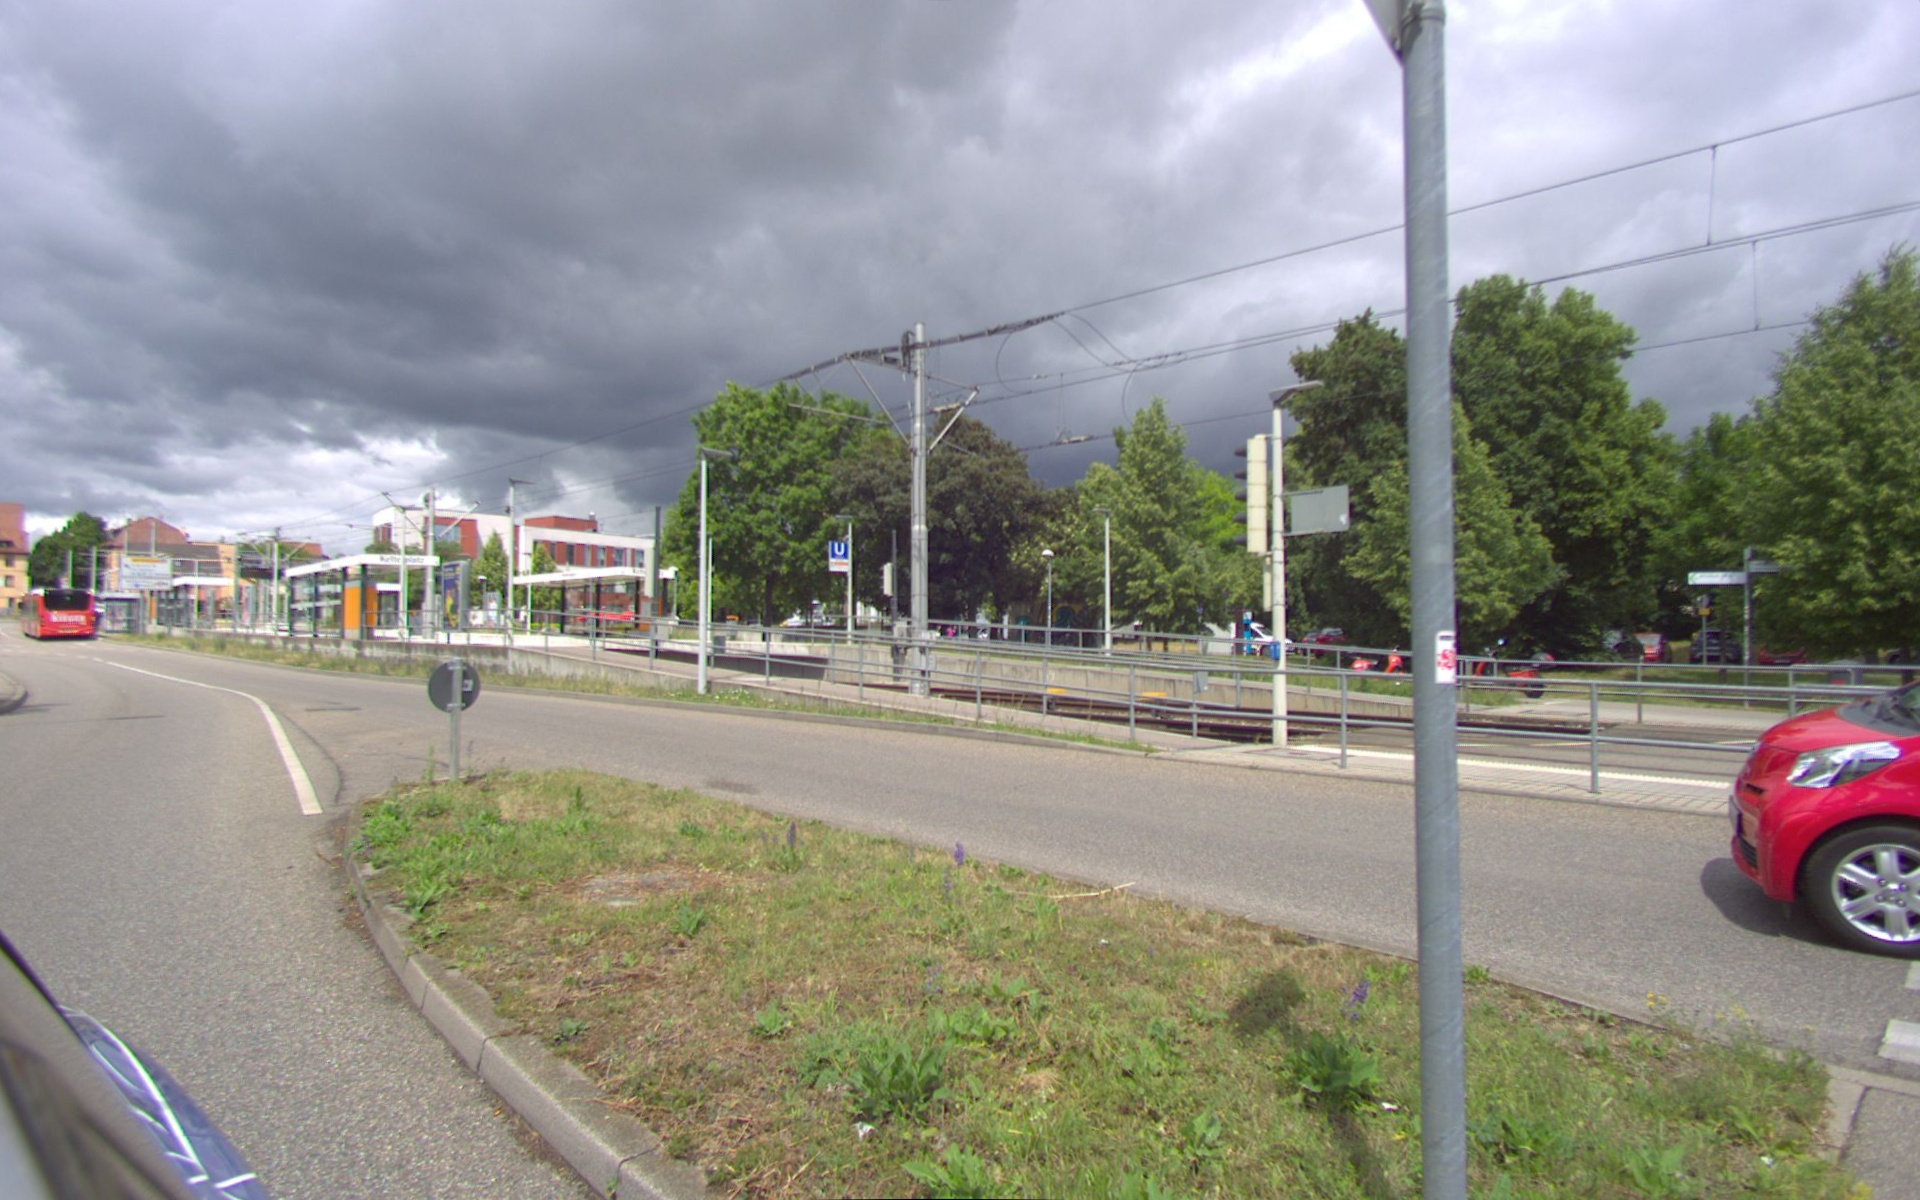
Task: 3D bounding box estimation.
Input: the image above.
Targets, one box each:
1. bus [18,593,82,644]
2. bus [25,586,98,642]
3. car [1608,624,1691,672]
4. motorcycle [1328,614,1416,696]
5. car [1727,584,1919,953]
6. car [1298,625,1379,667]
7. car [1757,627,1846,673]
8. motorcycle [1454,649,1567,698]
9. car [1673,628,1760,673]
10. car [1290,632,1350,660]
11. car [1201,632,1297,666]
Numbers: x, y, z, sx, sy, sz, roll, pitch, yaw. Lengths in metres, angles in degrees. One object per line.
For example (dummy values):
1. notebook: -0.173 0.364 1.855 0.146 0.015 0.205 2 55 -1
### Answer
1. bus: -61.663 1.337 68.499 2.694 3.133 9.709 2 -4 -45
2. bus: -55.029 0.948 61.890 8.966 3.093 2.695 -3 -4 44
3. car: 30.801 2.121 45.188 3.936 2.029 1.931 1 -3 -39
4. motorcycle: 10.642 1.412 26.237 0.822 2.029 1.988 2 -3 -33
5. car: 5.268 0.694 4.342 2.957 1.514 1.706 -2 -3 33
6. car: 16.407 1.980 43.796 2.053 1.719 3.596 -3 -4 43
7. car: 34.999 2.062 42.070 3.936 1.849 2.004 1 -3 -39
8. motorcycle: 12.882 1.698 23.766 0.720 1.089 2.219 2 -3 -39
9. car: 32.674 2.167 43.701 3.936 1.849 2.004 1 -3 -39
10. car: 20.225 2.578 56.840 1.967 1.503 3.782 -3 -4 40
11. car: 14.895 2.556 52.258 4.395 1.691 1.926 -3 -3 35
